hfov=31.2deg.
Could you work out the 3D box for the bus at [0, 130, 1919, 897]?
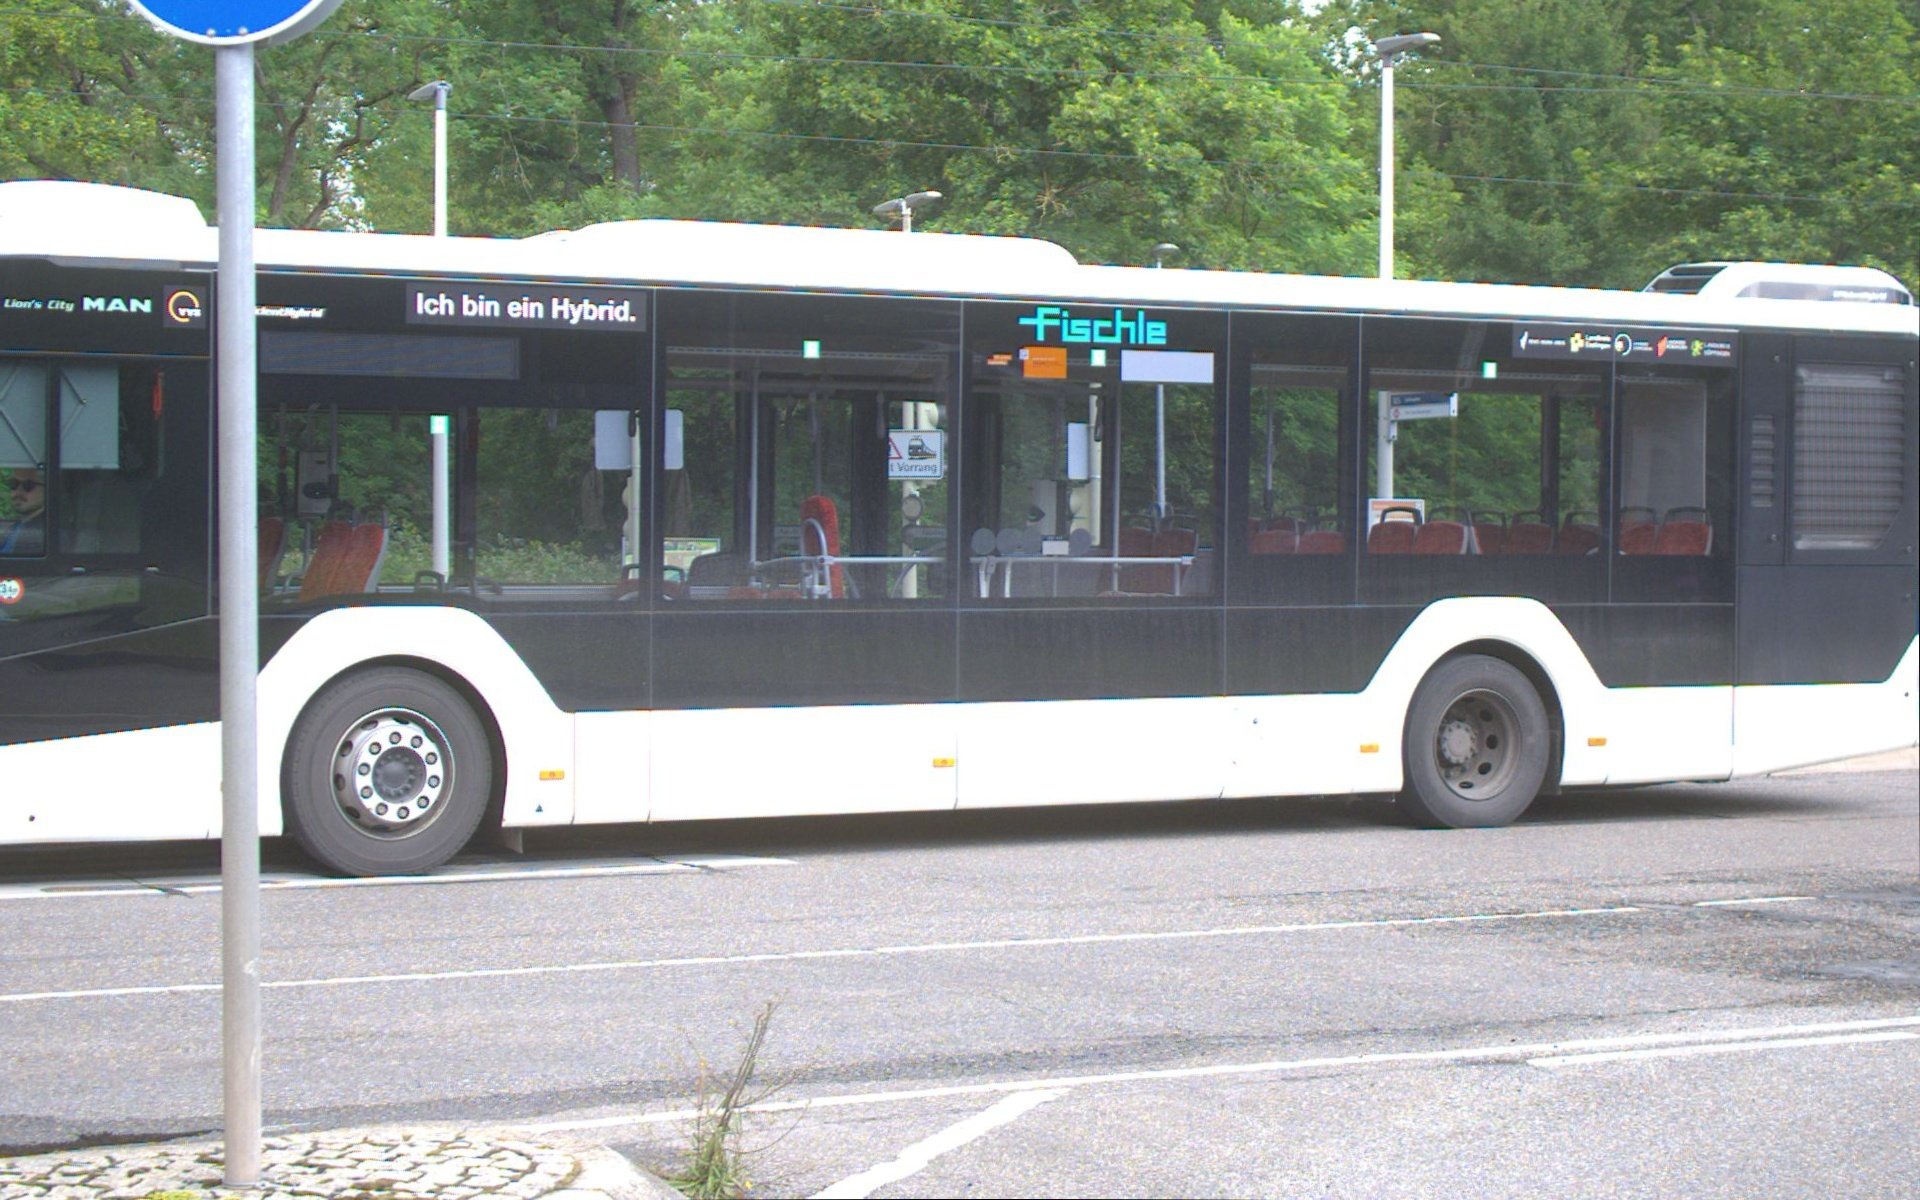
[{"bbox_3d":[-0.149,-0.374,17.879,12.158,3.192,2.675,0,0,-28],"label":"bus"}]
